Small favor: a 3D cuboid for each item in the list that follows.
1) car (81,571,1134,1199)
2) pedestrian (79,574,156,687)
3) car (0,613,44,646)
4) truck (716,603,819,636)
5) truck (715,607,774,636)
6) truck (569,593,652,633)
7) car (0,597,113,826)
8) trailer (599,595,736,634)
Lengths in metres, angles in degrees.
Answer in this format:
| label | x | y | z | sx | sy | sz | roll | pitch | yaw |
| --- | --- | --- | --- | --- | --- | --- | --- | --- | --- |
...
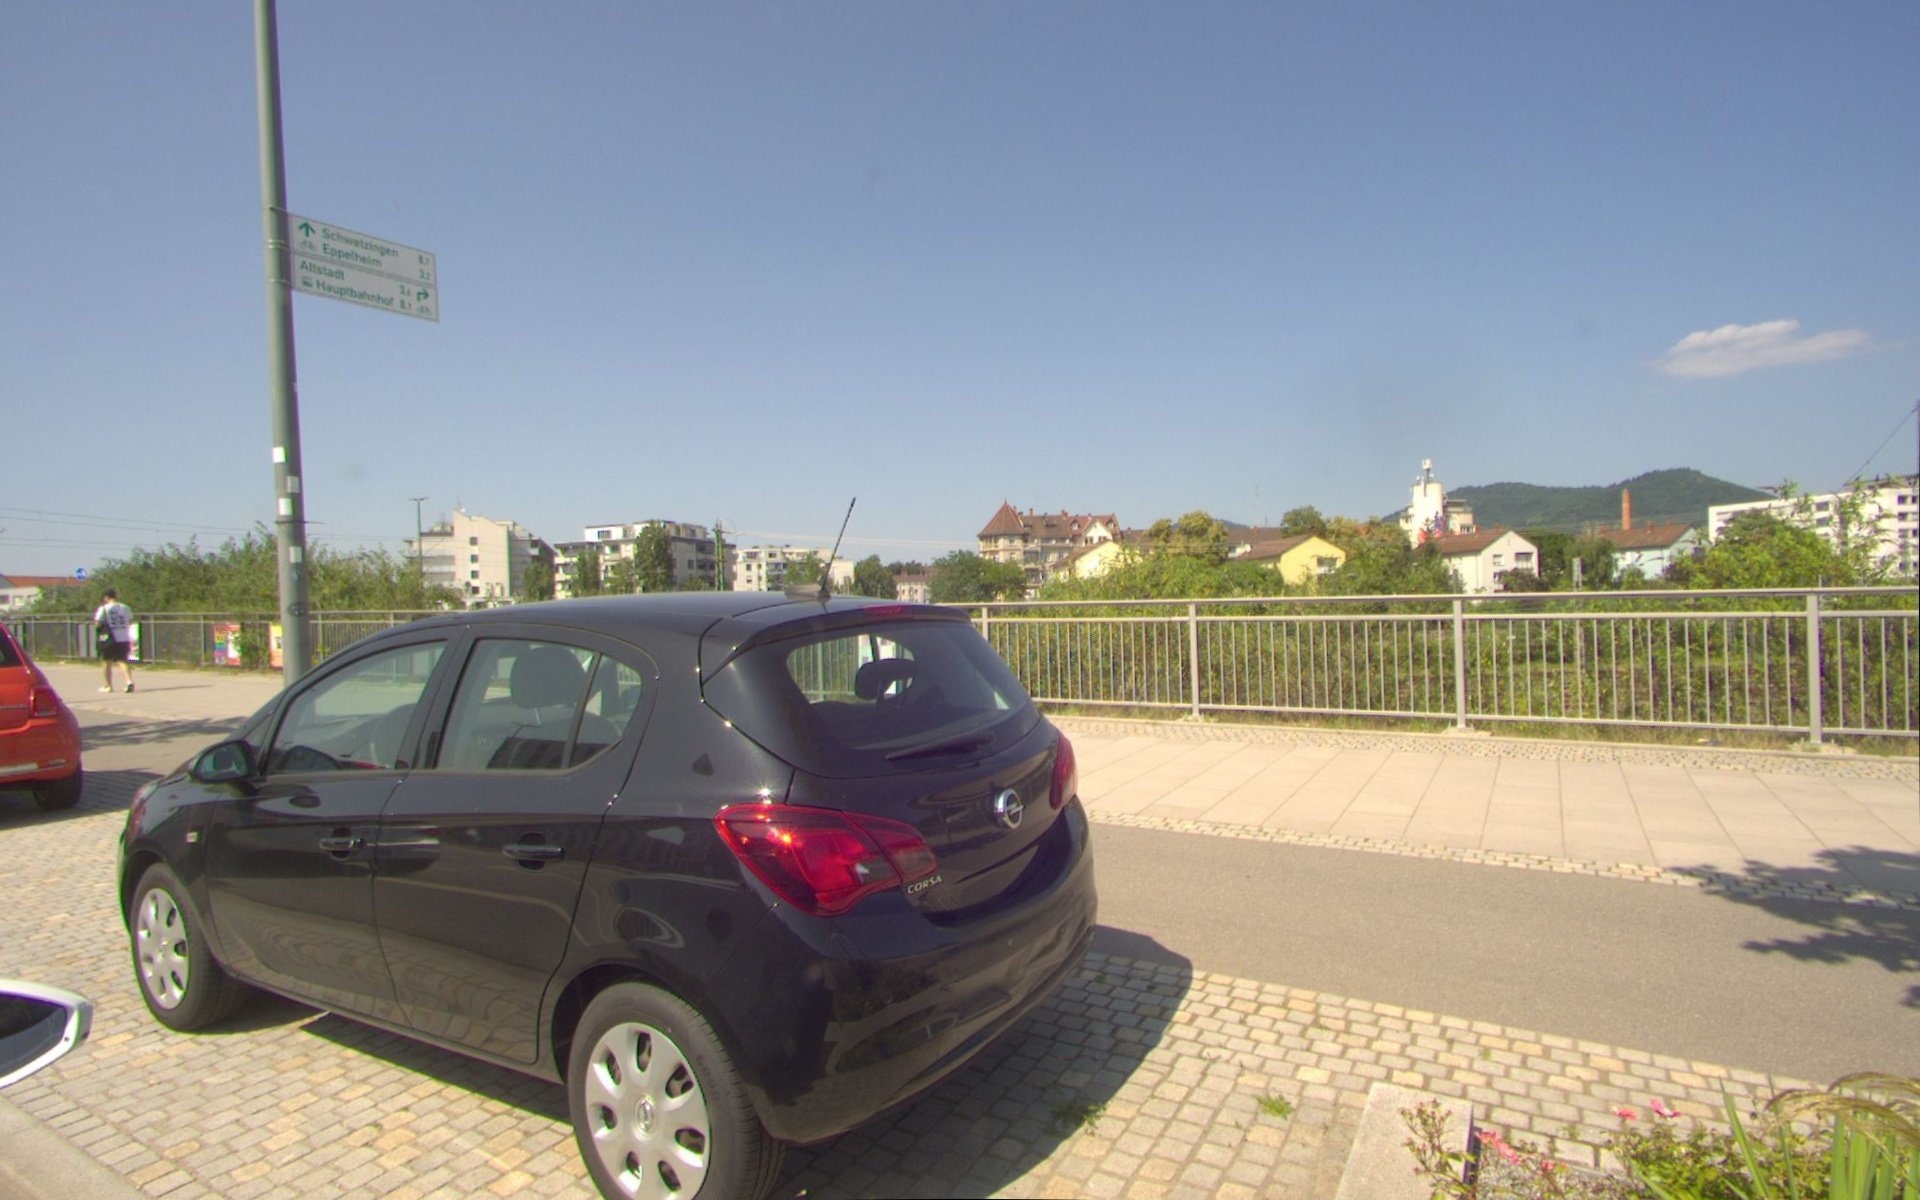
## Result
| label | x | y | z | sx | sy | sz | roll | pitch | yaw |
| --- | --- | --- | --- | --- | --- | --- | --- | --- | --- |
| car | -1.341 | 0.742 | 3.489 | 3.495 | 1.577 | 1.577 | -1 | 2 | 32 |
| pedestrian | -14.288 | 0.531 | 16.985 | 0.872 | 1.853 | 0.757 | -1 | -2 | 32 |
| car | -47.264 | 1.451 | 48.532 | 1.645 | 1.571 | 3.983 | -2 | -1 | 15 |
| truck | -21.549 | 2.374 | 114.138 | 3.674 | 3.243 | 17.876 | -1 | -3 | 17 |
| truck | -25.386 | 2.565 | 118.601 | 2.459 | 3.197 | 9.899 | -1 | -2 | 16 |
| truck | -29.836 | 1.183 | 85.760 | 3.672 | 3.244 | 6.485 | -1 | -2 | 17 |
| car | -8.402 | 0.772 | 7.763 | 3.859 | 1.561 | 1.666 | 1 | 2 | 32 |
| trailer | -27.153 | 1.553 | 94.675 | 3.674 | 3.243 | 17.244 | -1 | -3 | 17 |
